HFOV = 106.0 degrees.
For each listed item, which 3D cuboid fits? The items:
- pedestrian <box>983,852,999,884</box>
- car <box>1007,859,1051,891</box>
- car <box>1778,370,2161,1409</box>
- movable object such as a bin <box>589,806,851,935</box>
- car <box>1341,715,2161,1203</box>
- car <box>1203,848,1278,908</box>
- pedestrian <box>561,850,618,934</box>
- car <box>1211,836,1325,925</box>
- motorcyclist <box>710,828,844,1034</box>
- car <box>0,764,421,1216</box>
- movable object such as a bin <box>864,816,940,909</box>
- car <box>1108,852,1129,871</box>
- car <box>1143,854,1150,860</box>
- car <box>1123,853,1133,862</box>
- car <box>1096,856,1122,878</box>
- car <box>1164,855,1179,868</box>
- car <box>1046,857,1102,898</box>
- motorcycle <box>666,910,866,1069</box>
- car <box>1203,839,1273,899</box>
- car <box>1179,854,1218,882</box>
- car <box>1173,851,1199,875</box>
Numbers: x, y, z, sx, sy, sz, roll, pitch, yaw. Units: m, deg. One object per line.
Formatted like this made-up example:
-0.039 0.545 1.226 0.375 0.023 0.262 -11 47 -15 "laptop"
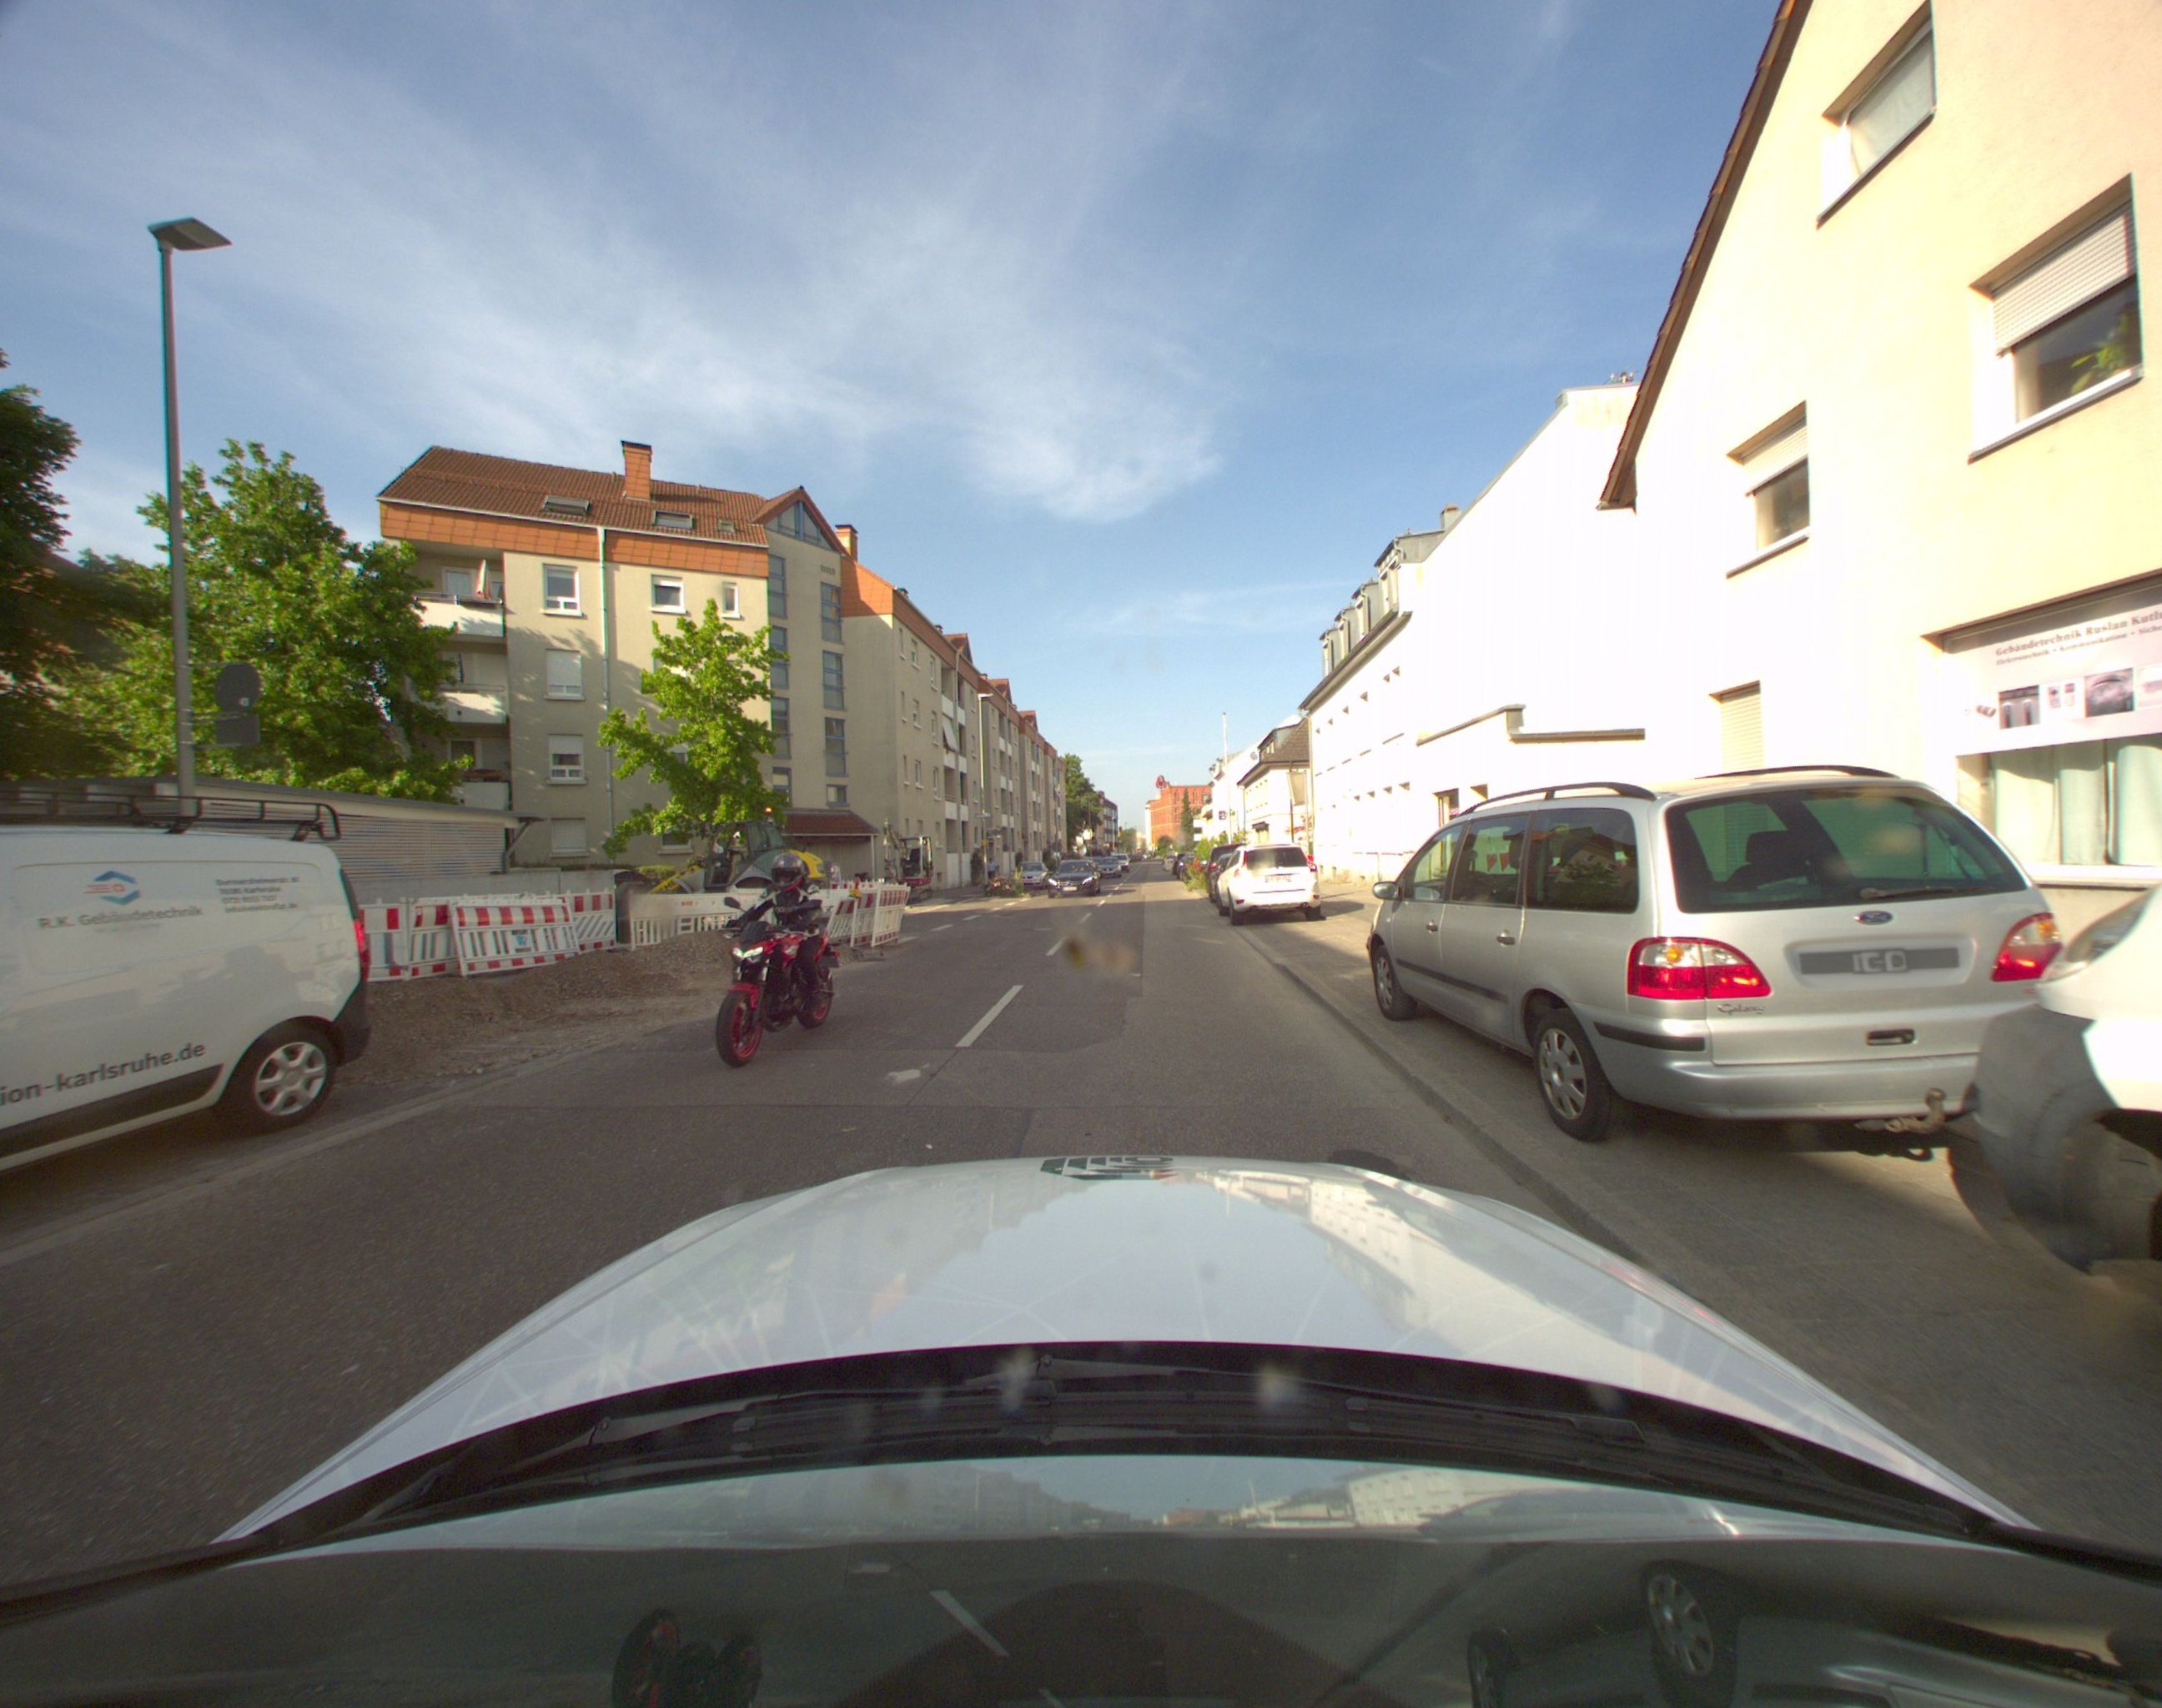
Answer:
-5.083 0.779 46.044 0.715 1.818 0.746 -1 0 5 "pedestrian"
-2.516 1.005 40.253 1.633 1.395 3.675 -3 0 3 "car"
3.427 0.060 0.262 2.166 2.327 5.000 -3 0 2 "car"
-8.655 0.335 20.114 5.498 2.900 2.104 -1 0 -11 "movable object such as a bin"
3.227 0.400 5.310 1.770 1.741 4.487 -4 0 3 "car"
4.590 0.652 23.945 1.581 1.528 4.619 -3 -1 5 "car"
-12.233 0.932 20.305 0.759 2.018 0.897 -1 0 17 "pedestrian"
4.062 0.506 18.356 1.804 1.683 4.482 -3 0 5 "car"
-2.593 0.624 7.034 0.766 1.652 0.844 -2 0 2 "motorcyclist"
-5.551 0.603 3.523 1.722 1.960 4.438 -1 0 0 "car"
-6.538 0.285 30.159 1.641 3.138 3.904 -2 0 3 "movable object such as a bin"
3.614 0.700 77.897 1.913 1.767 4.342 -2 0 4 "car"
18.361 0.853 227.399 1.755 1.616 4.005 -3 0 5 "car"
10.043 0.689 174.183 1.984 1.882 4.006 -2 0 5 "car"
2.011 0.898 57.493 1.610 1.455 3.689 -3 0 4 "car"
11.111 0.857 100.044 1.821 1.482 3.949 -3 0 6 "car"
-0.197 0.888 32.104 1.822 1.420 4.213 -2 0 4 "car"
-2.579 1.059 7.020 0.765 0.985 2.200 -2 0 2 "motorcycle"
5.526 0.468 29.174 2.064 1.856 4.620 -3 0 7 "car"
6.338 0.717 44.251 1.771 1.420 4.501 -2 0 4 "car"
7.769 0.693 60.450 1.820 1.630 4.470 1 -2 6 "car"
